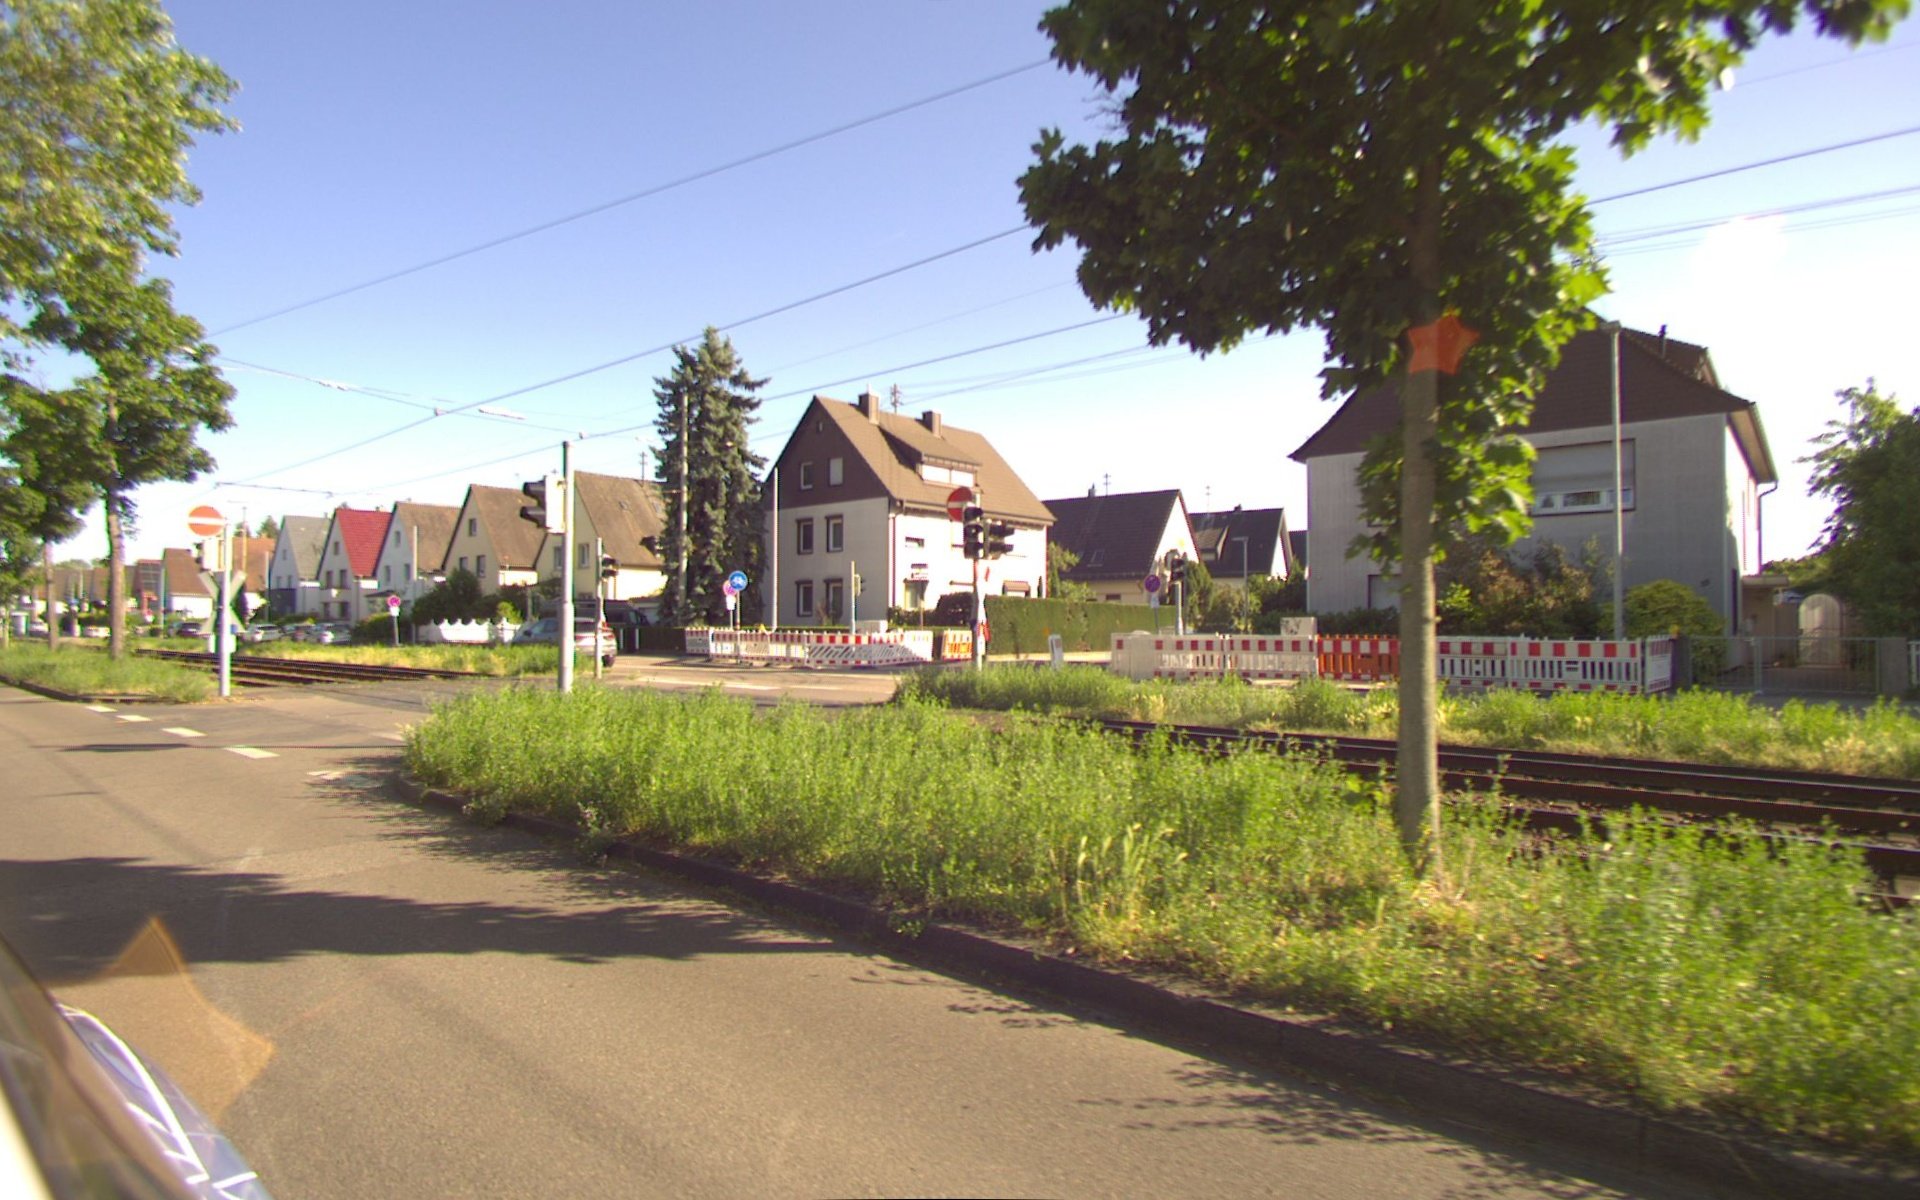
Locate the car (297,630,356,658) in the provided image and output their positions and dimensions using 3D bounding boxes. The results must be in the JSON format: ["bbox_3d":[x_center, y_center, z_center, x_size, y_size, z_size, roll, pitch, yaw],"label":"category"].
[{"bbox_3d":[-38.125,2.624,60.902,4.055,1.565,1.926,-1,-1,41],"label":"car"}]

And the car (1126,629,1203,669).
[{"bbox_3d":[9.104,2.121,44.836,1.742,1.561,3.948,-1,-1,39],"label":"car"}]

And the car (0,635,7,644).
[{"bbox_3d":[-161.589,6.632,170.118,3.754,1.501,1.716,-1,-1,42],"label":"car"}]

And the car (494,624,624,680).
[{"bbox_3d":[-12.662,1.576,31.864,4.471,1.616,1.973,-1,-1,41],"label":"car"}]

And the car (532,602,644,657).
[{"bbox_3d":[-18.775,1.511,51.248,2.101,2.645,4.976,-3,-3,41],"label":"car"}]

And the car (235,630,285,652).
[{"bbox_3d":[-48.513,2.804,70.095,4.410,1.437,1.972,-1,-1,43],"label":"car"}]

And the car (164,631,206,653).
[{"bbox_3d":[-65.173,3.488,85.123,4.389,1.726,1.973,-1,-1,41],"label":"car"}]

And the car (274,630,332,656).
[{"bbox_3d":[-41.591,2.705,64.026,4.126,1.460,1.973,-1,1,41],"label":"car"}]

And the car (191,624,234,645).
[{"bbox_3d":[-58.609,2.680,79.334,4.254,1.506,1.906,-1,-1,41],"label":"car"}]

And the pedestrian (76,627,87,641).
[{"bbox_3d":[-100.633,3.936,115.893,0.793,1.546,0.803,-4,-4,40],"label":"pedestrian"}]
